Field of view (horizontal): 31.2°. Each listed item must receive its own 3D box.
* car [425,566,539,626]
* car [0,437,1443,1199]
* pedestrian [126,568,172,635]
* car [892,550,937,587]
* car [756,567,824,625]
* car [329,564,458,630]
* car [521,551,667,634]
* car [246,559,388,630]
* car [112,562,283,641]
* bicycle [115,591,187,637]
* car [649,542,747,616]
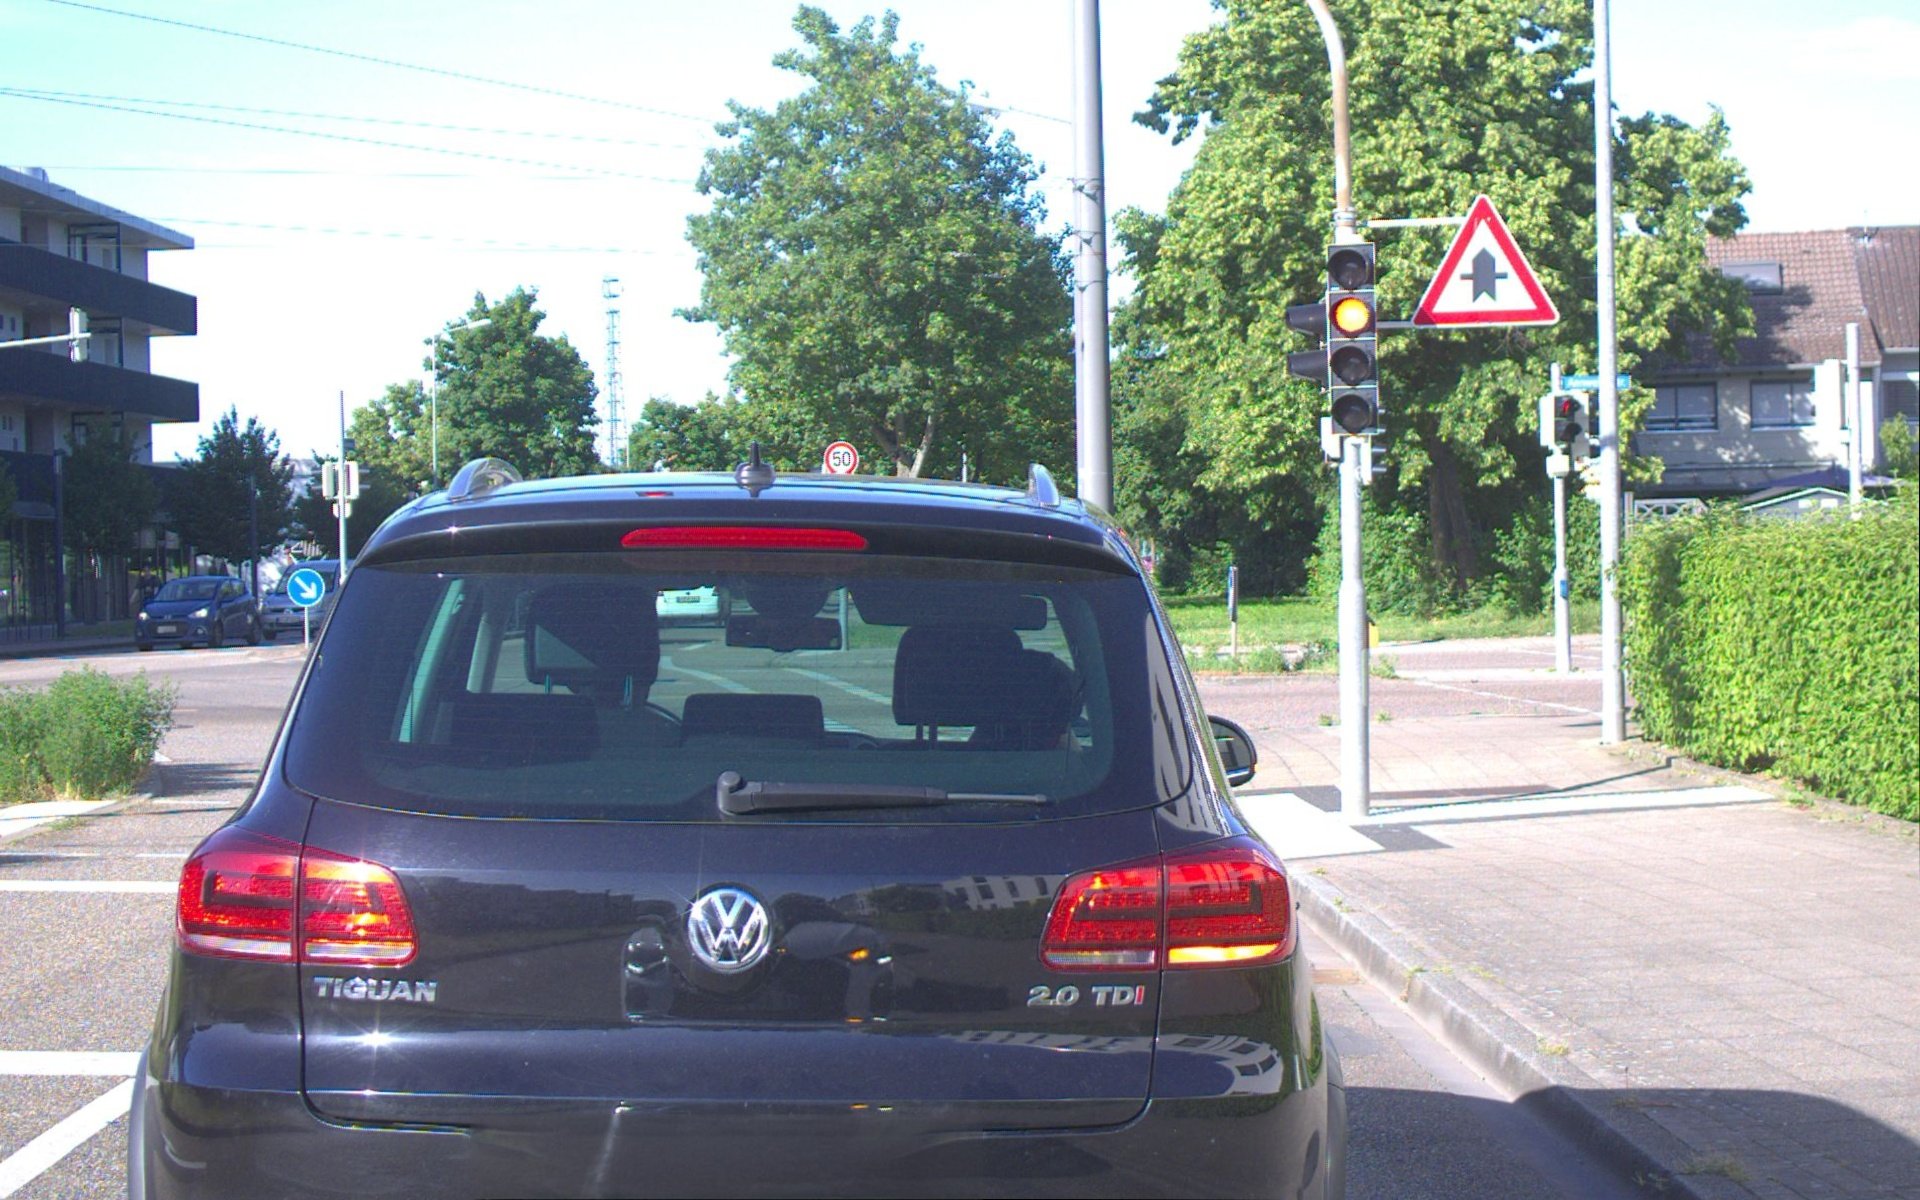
[{"bbox_3d":[-12.890,-0.123,92.962,1.994,1.569,4.338,1,1,7],"label":"car"},{"bbox_3d":[-0.341,0.597,6.461,1.869,1.632,4.000,1,1,-1],"label":"car"},{"bbox_3d":[-18.090,0.026,76.707,0.711,1.468,0.953,1,0,7],"label":"pedestrian"},{"bbox_3d":[-2.122,-1.457,158.431,1.993,1.678,4.000,1,1,-2],"label":"car"},{"bbox_3d":[-5.446,-0.145,110.784,1.993,1.830,4.000,1,1,0],"label":"car"},{"bbox_3d":[-14.028,-0.084,85.328,1.994,1.569,4.338,1,1,7],"label":"car"},{"bbox_3d":[-6.967,-0.165,65.800,1.864,1.480,4.109,-1,1,7],"label":"car"},{"bbox_3d":[-14.759,-0.136,79.131,1.994,1.569,4.338,1,1,7],"label":"car"},{"bbox_3d":[-15.807,0.015,71.488,1.994,1.569,4.337,1,1,9],"label":"car"},{"bbox_3d":[-18.050,0.297,76.793,0.771,0.986,2.431,1,1,7],"label":"bicycle"},{"bbox_3d":[-6.319,-0.536,83.339,1.864,1.714,3.686,-1,1,4],"label":"car"}]
